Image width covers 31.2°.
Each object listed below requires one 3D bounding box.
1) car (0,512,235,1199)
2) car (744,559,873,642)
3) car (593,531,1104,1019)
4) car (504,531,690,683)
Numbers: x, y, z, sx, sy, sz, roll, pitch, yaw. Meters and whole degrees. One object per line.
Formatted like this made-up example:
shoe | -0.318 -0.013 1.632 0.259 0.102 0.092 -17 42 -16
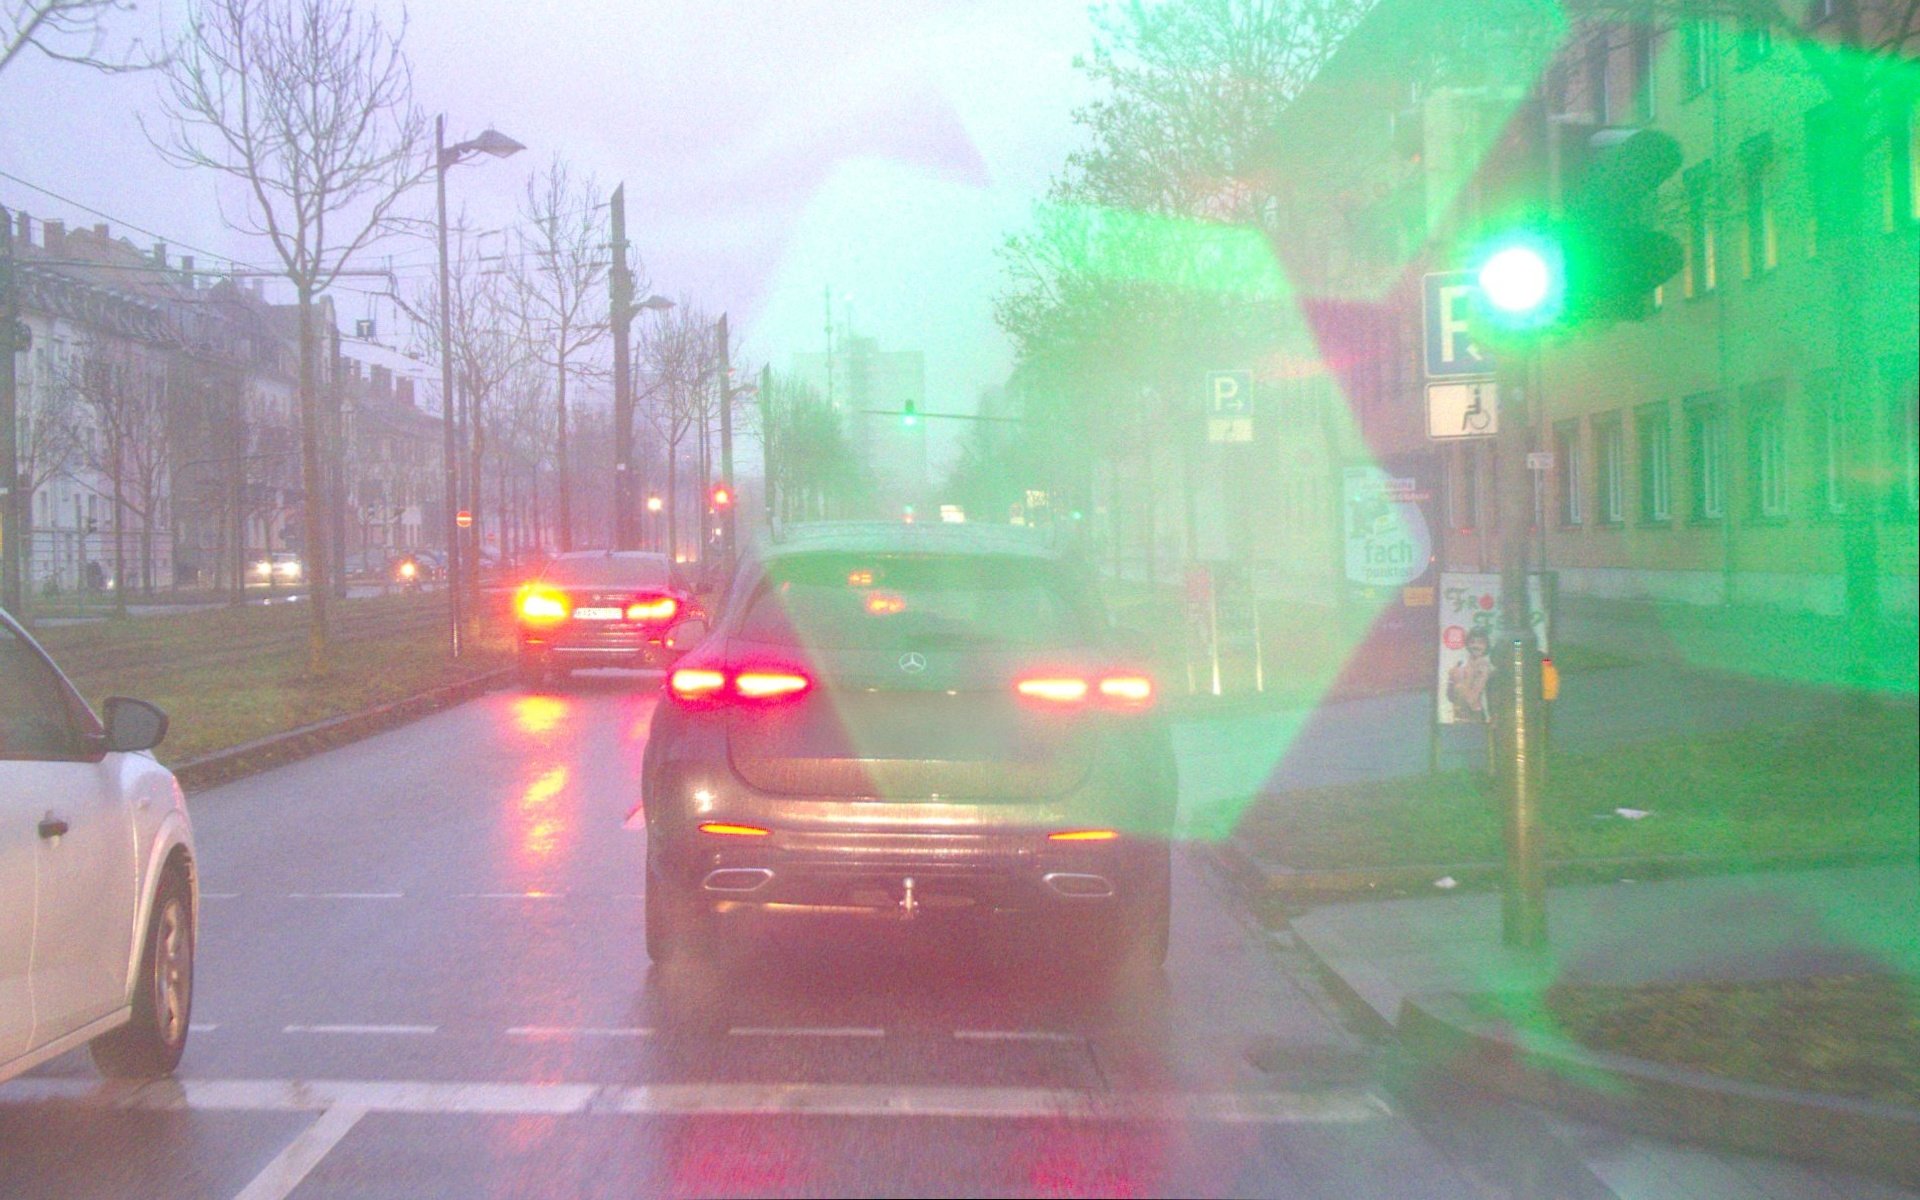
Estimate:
car | -2.992 0.594 8.240 1.672 1.594 4.054 0 1 0
car | -2.542 -0.014 58.317 1.993 1.294 3.479 -2 1 0
car | -0.379 0.542 13.285 1.672 1.594 4.054 0 1 0
car | -3.981 0.040 38.223 1.672 1.594 4.054 0 1 0
